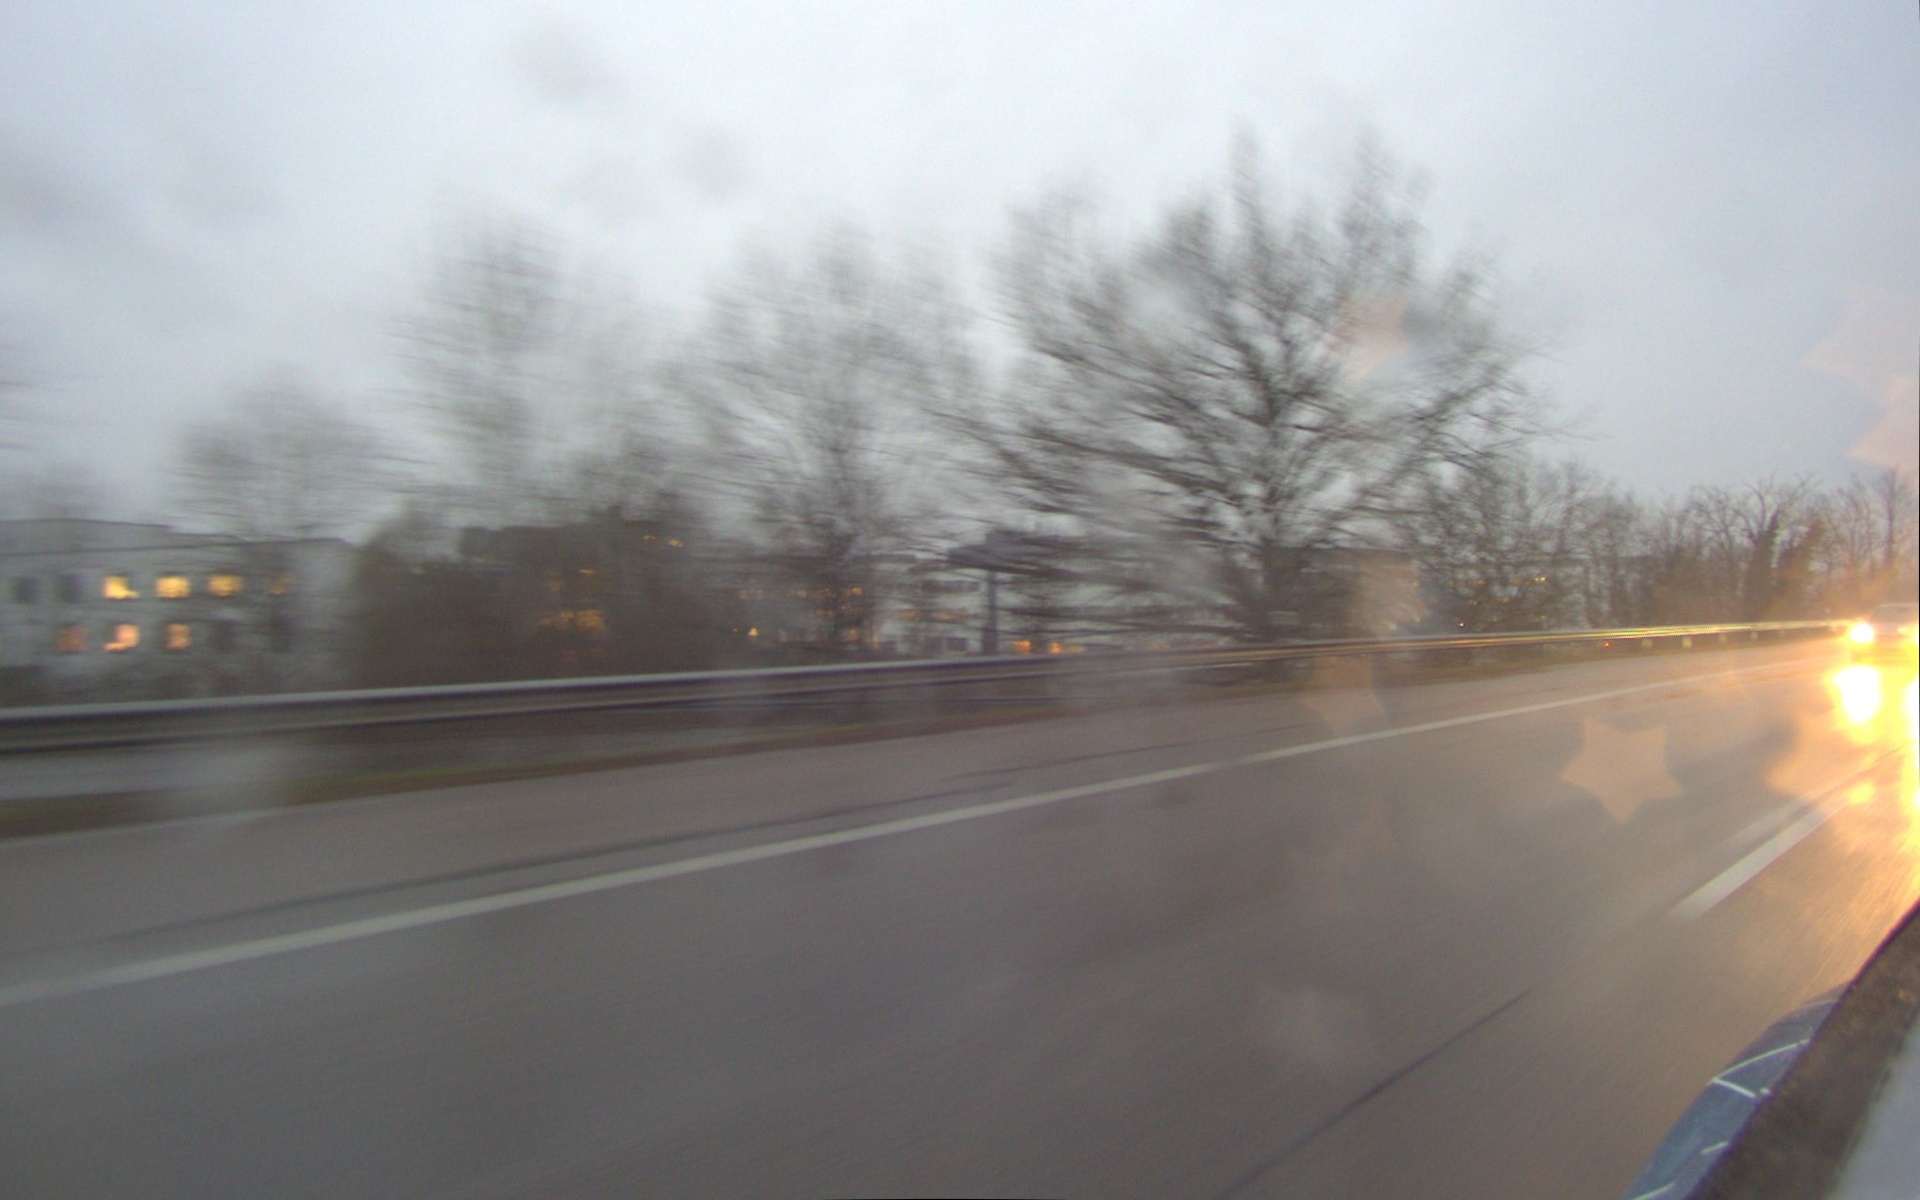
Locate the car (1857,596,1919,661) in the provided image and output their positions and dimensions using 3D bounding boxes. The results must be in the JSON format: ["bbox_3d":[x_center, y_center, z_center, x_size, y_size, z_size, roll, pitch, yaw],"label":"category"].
[{"bbox_3d":[24.554,0.687,25.773,4.072,1.549,1.850,0,0,-38],"label":"car"}]
